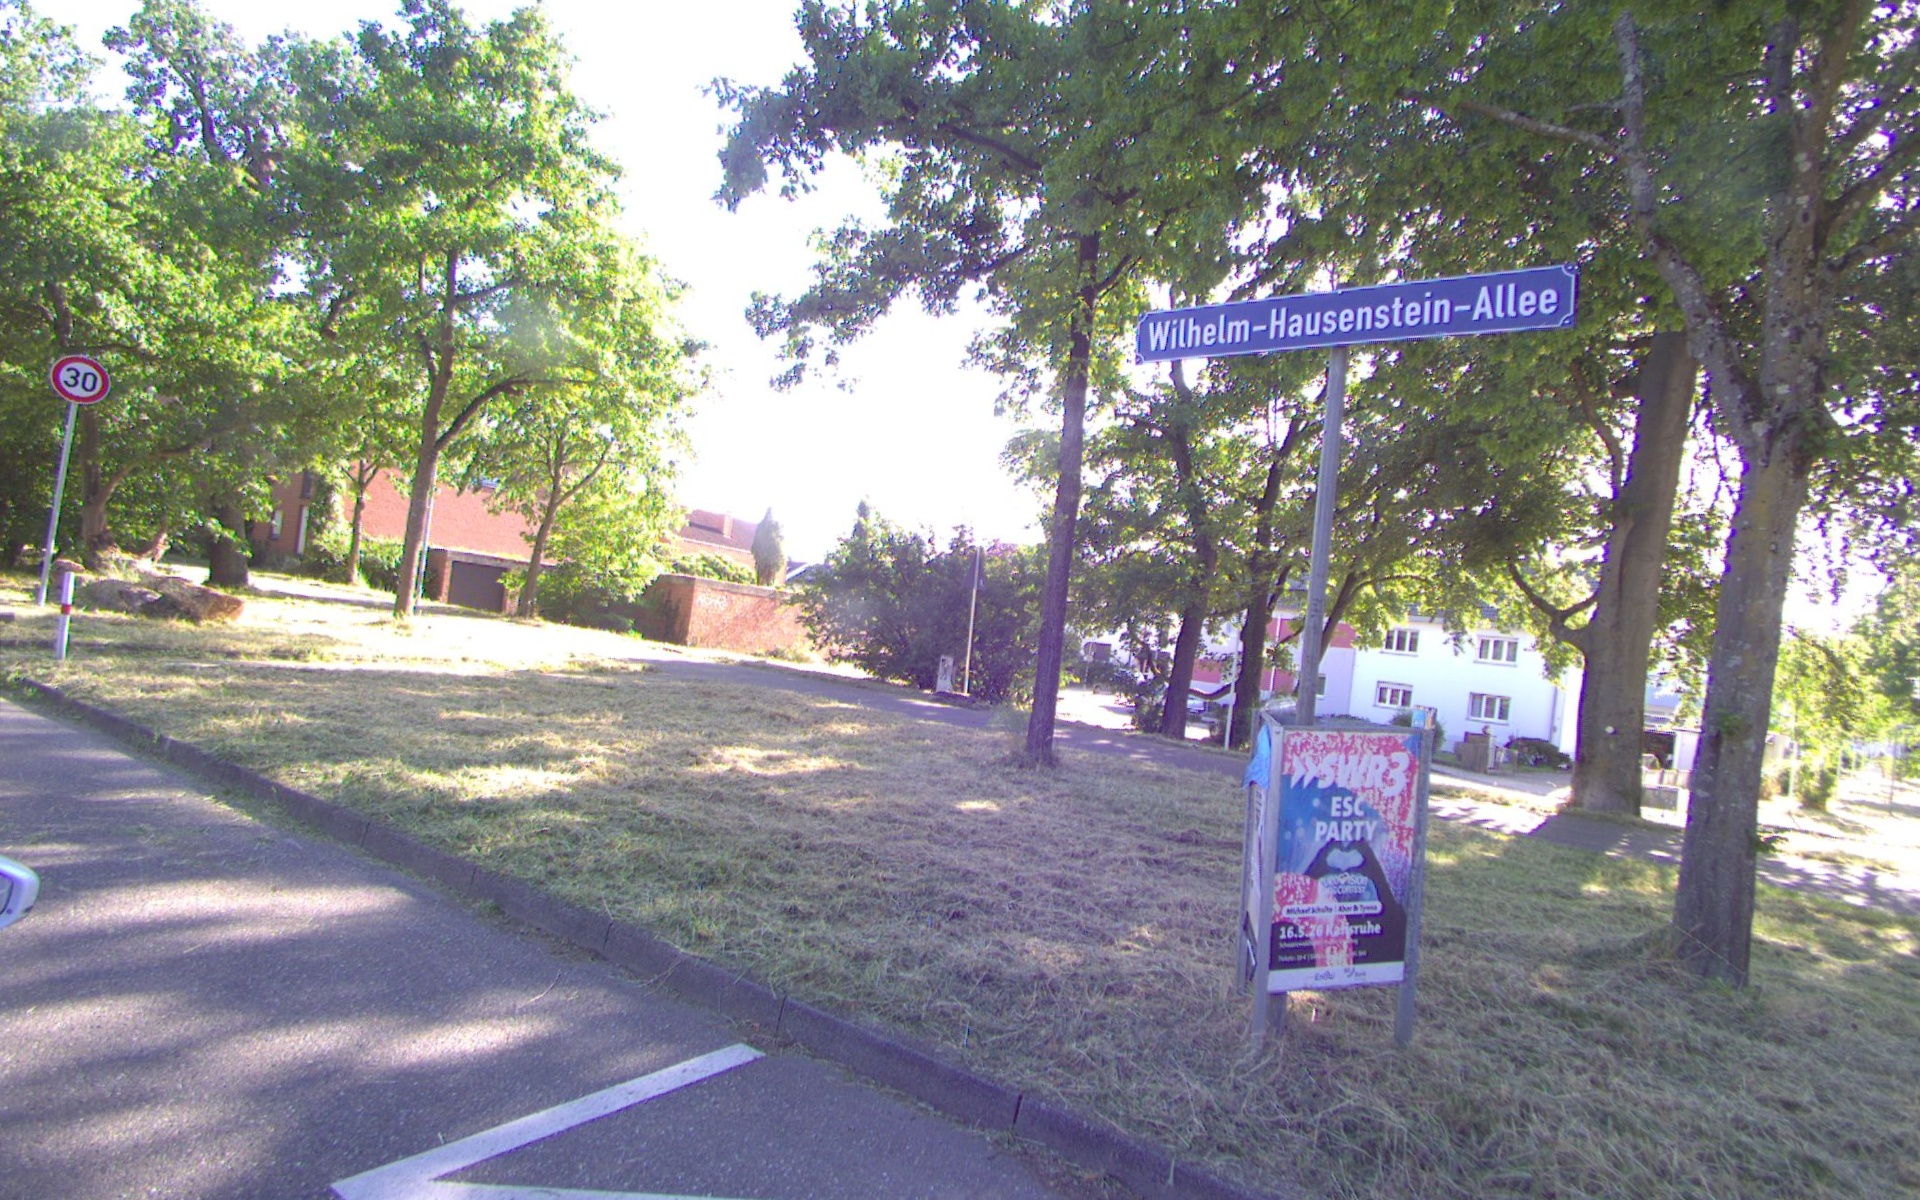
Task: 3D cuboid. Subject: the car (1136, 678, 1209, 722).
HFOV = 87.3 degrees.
[{"bbox_3d":[10.094,4.742,47.961,1.514,1.569,3.160,9,-2,-30],"label":"car"}]
